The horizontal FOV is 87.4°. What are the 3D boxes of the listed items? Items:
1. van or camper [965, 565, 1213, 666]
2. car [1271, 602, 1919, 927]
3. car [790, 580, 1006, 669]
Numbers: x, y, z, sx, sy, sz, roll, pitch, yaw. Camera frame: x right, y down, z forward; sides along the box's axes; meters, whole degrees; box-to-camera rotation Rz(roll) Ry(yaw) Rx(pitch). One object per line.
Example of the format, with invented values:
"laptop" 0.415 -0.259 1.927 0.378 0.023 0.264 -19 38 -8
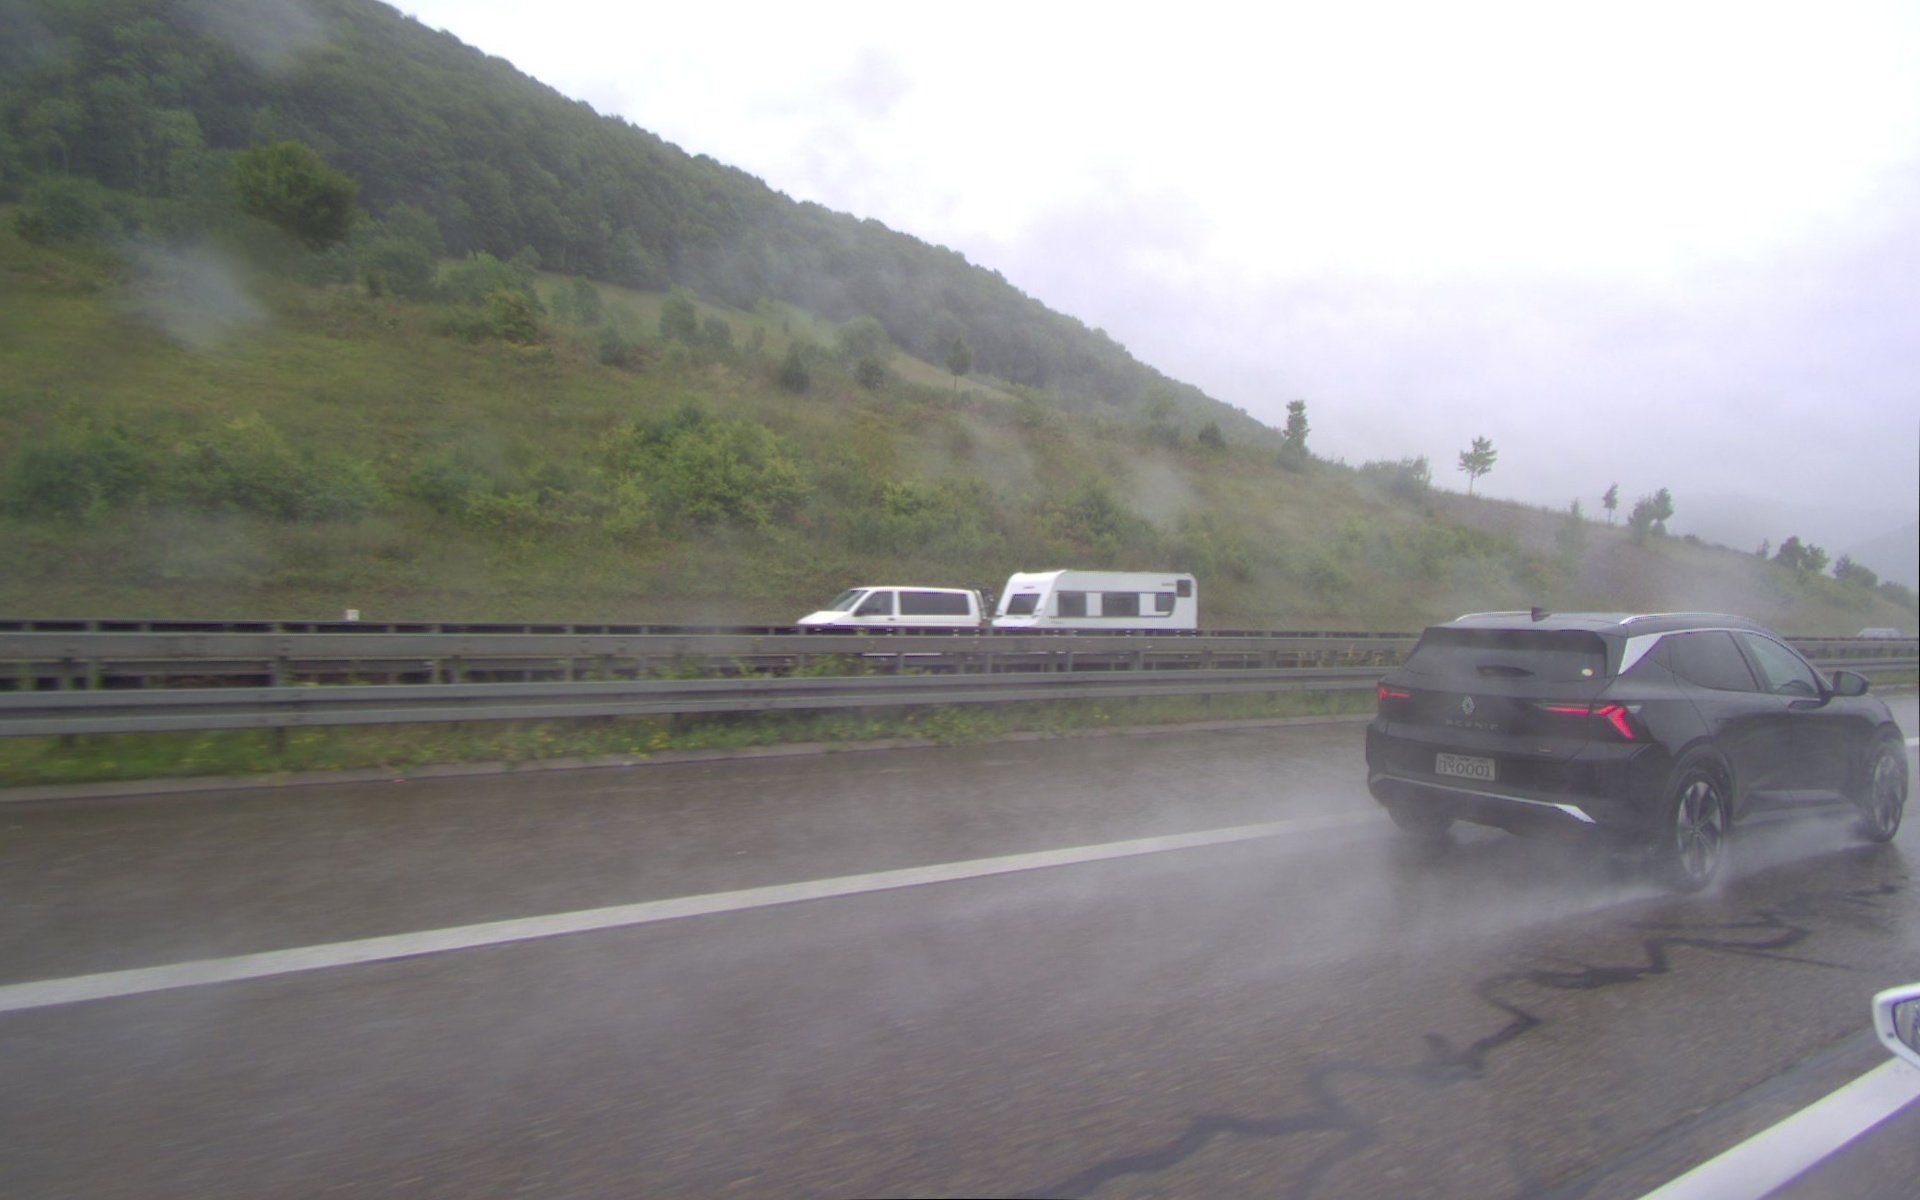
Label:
"van or camper" 3.774 0.467 28.584 7.123 2.598 2.332 1 0 -31
"car" 4.794 0.850 7.043 4.726 1.535 2.395 2 0 -29
"car" -1.520 0.620 25.348 5.120 2.042 1.983 1 0 -31
